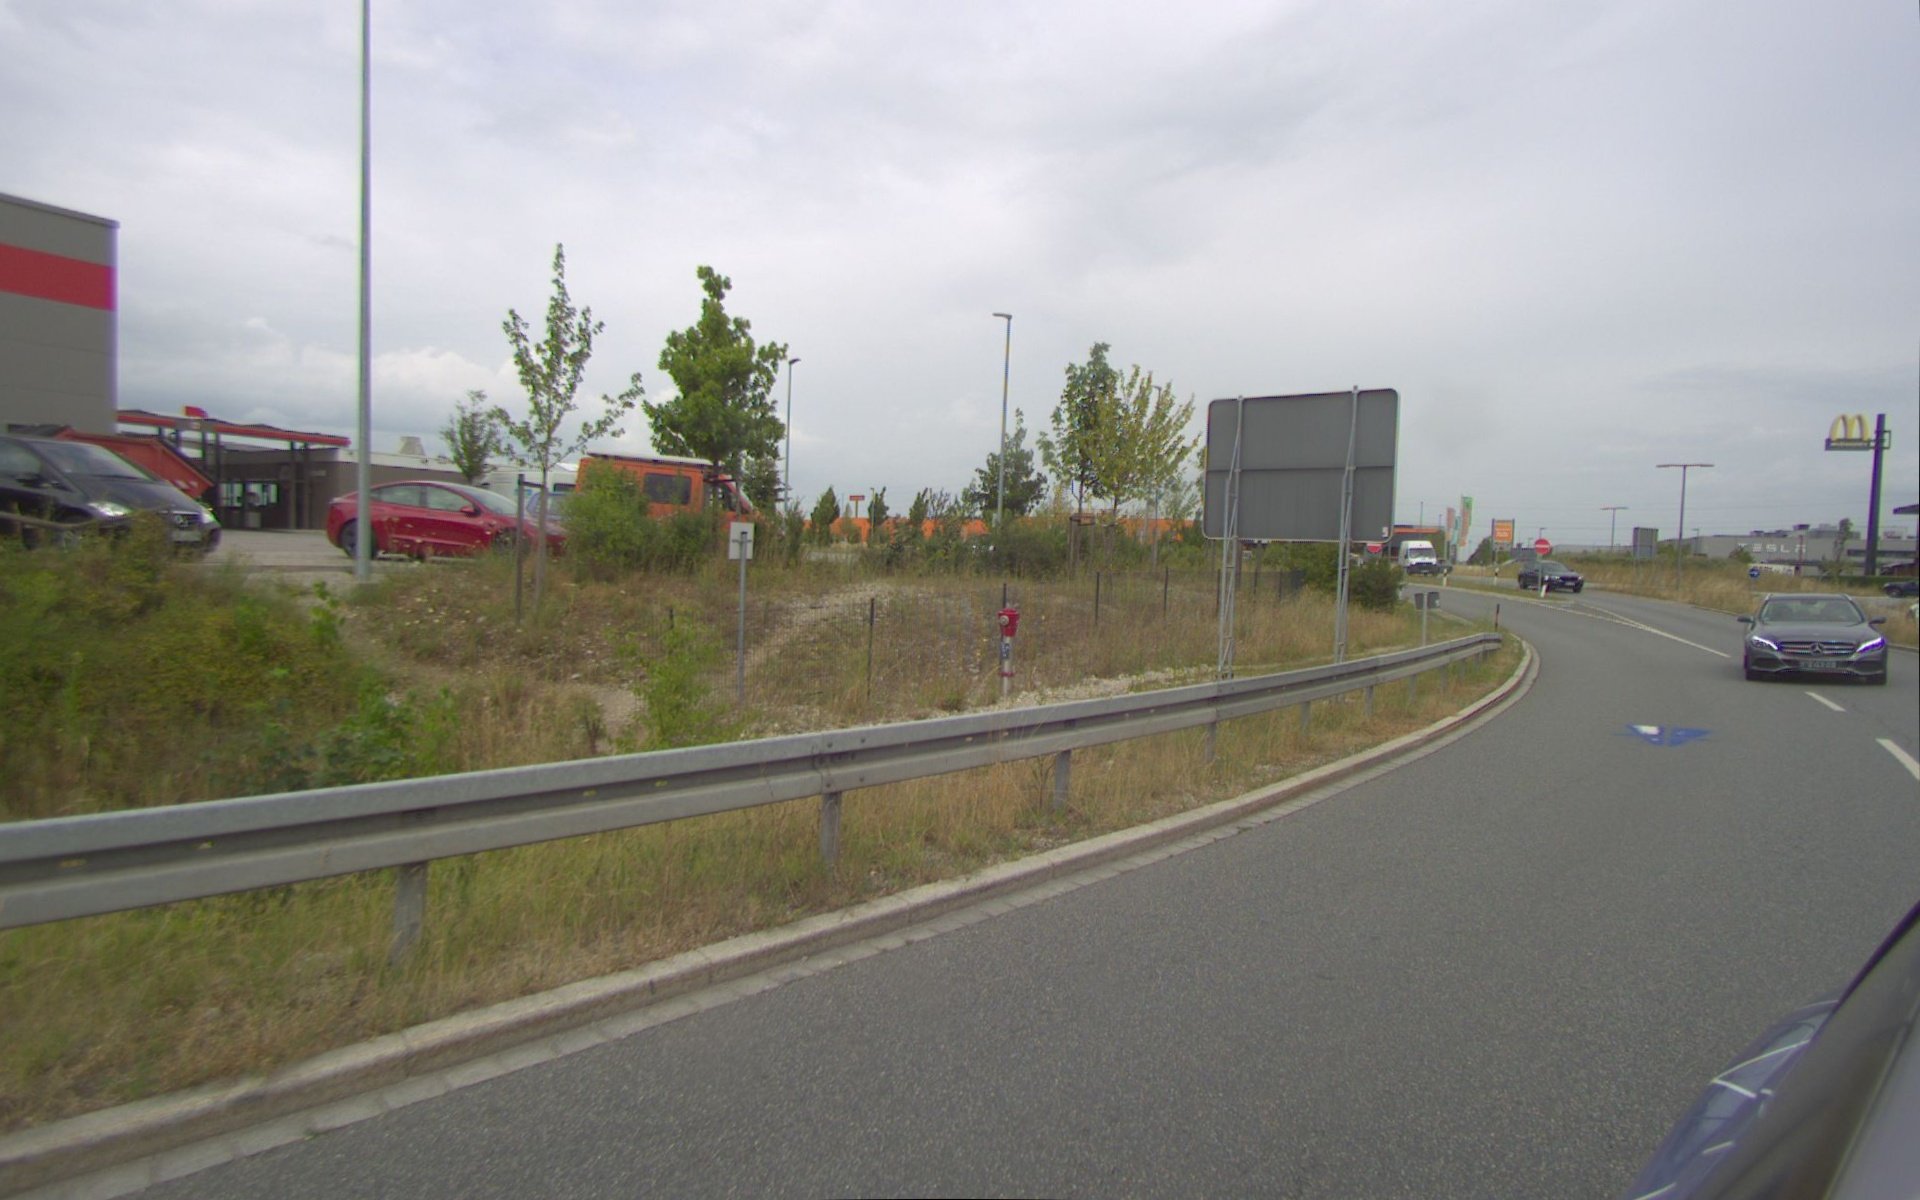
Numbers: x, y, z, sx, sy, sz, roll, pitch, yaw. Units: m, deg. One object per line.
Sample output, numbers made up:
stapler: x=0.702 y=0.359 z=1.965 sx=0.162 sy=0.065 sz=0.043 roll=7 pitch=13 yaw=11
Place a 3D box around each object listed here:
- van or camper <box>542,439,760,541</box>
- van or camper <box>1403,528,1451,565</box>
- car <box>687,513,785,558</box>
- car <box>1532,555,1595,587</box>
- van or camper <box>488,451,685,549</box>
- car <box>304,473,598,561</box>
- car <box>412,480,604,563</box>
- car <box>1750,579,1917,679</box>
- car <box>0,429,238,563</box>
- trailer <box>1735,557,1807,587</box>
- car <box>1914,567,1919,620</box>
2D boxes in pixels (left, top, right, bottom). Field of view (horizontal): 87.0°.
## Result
van or camper: x=-6.946 y=-2.457 z=23.185 sx=4.579 sy=2.022 sz=1.817 roll=1 pitch=1 yaw=-11
van or camper: x=34.674 y=-3.938 z=75.296 sx=2.302 sy=2.682 sz=6.016 roll=1 pitch=2 yaw=16
car: x=-9.418 y=-2.687 z=42.437 sx=4.036 sy=1.742 sz=1.757 roll=2 pitch=2 yaw=35
car: x=33.843 y=-1.605 z=56.866 sx=1.815 sy=1.741 sz=3.985 roll=-1 pitch=1 yaw=12
van or camper: x=-13.831 y=-3.670 z=37.252 sx=7.676 sy=3.217 sz=2.466 roll=4 pitch=3 yaw=30
car: x=-8.993 y=-1.472 z=18.068 sx=4.508 sy=1.417 sz=1.702 roll=1 pitch=3 yaw=6
car: x=-9.243 y=-1.608 z=20.812 sx=3.248 sy=1.398 sz=1.500 roll=5 pitch=3 yaw=4
car: x=14.983 y=0.453 z=17.581 sx=1.897 sy=1.516 sz=4.280 roll=0 pitch=-1 yaw=37
car: x=-11.928 y=-1.372 z=13.329 sx=3.729 sy=1.537 sz=1.690 roll=4 pitch=2 yaw=6
trailer: x=64.728 y=-2.287 z=80.835 sx=1.775 sy=2.116 sz=4.157 roll=2 pitch=4 yaw=-11
car: x=30.023 y=-0.188 z=29.575 sx=1.897 sy=1.647 sz=4.592 roll=-1 pitch=0 yaw=28
